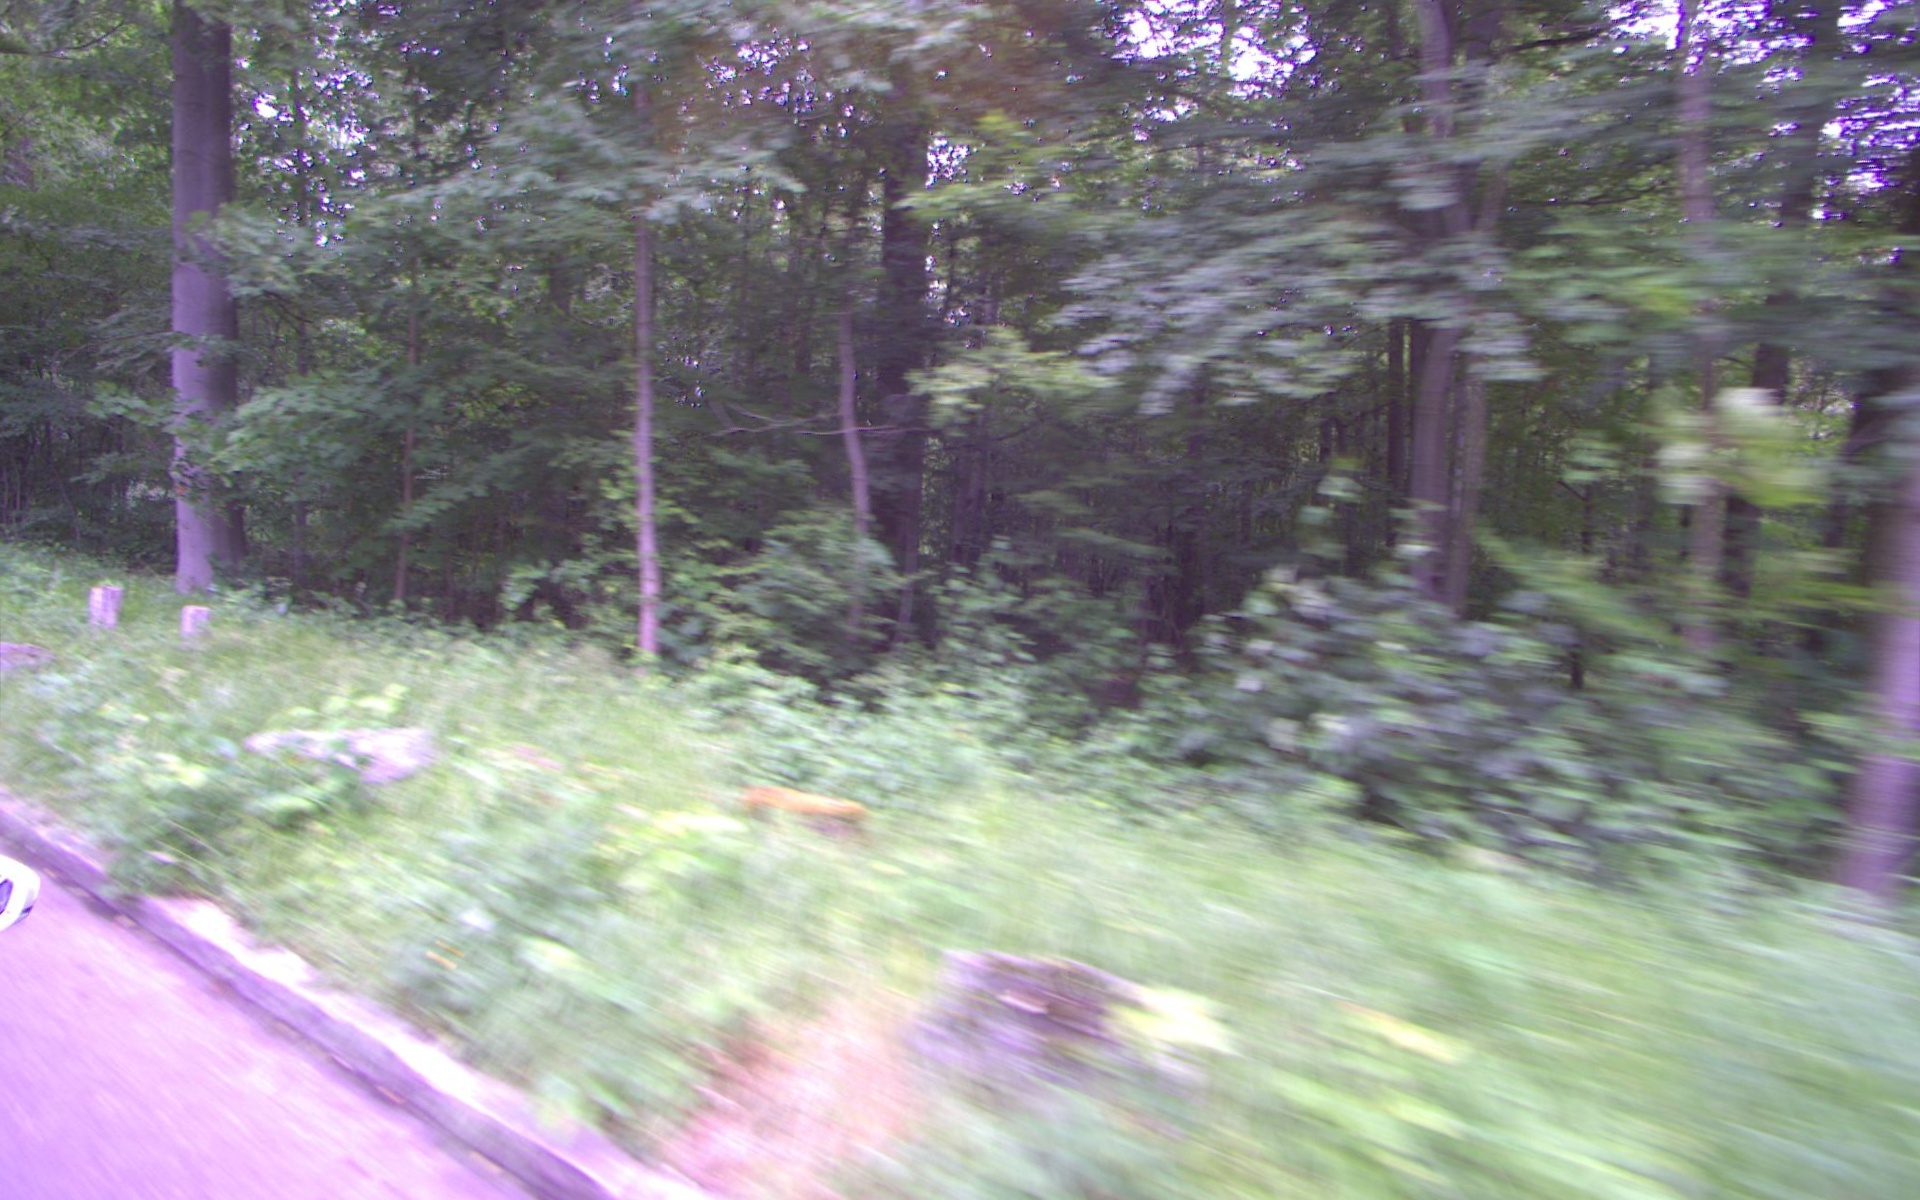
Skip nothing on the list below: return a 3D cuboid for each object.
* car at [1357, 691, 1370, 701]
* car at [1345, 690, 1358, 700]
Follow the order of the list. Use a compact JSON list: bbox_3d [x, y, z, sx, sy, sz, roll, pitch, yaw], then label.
[{"bbox_3d":[80.033,18.994,199.460,1.965,1.594,3.992,7,1,28],"label":"car"},{"bbox_3d":[78.013,18.869,200.438,1.965,1.594,3.992,7,1,28],"label":"car"}]
